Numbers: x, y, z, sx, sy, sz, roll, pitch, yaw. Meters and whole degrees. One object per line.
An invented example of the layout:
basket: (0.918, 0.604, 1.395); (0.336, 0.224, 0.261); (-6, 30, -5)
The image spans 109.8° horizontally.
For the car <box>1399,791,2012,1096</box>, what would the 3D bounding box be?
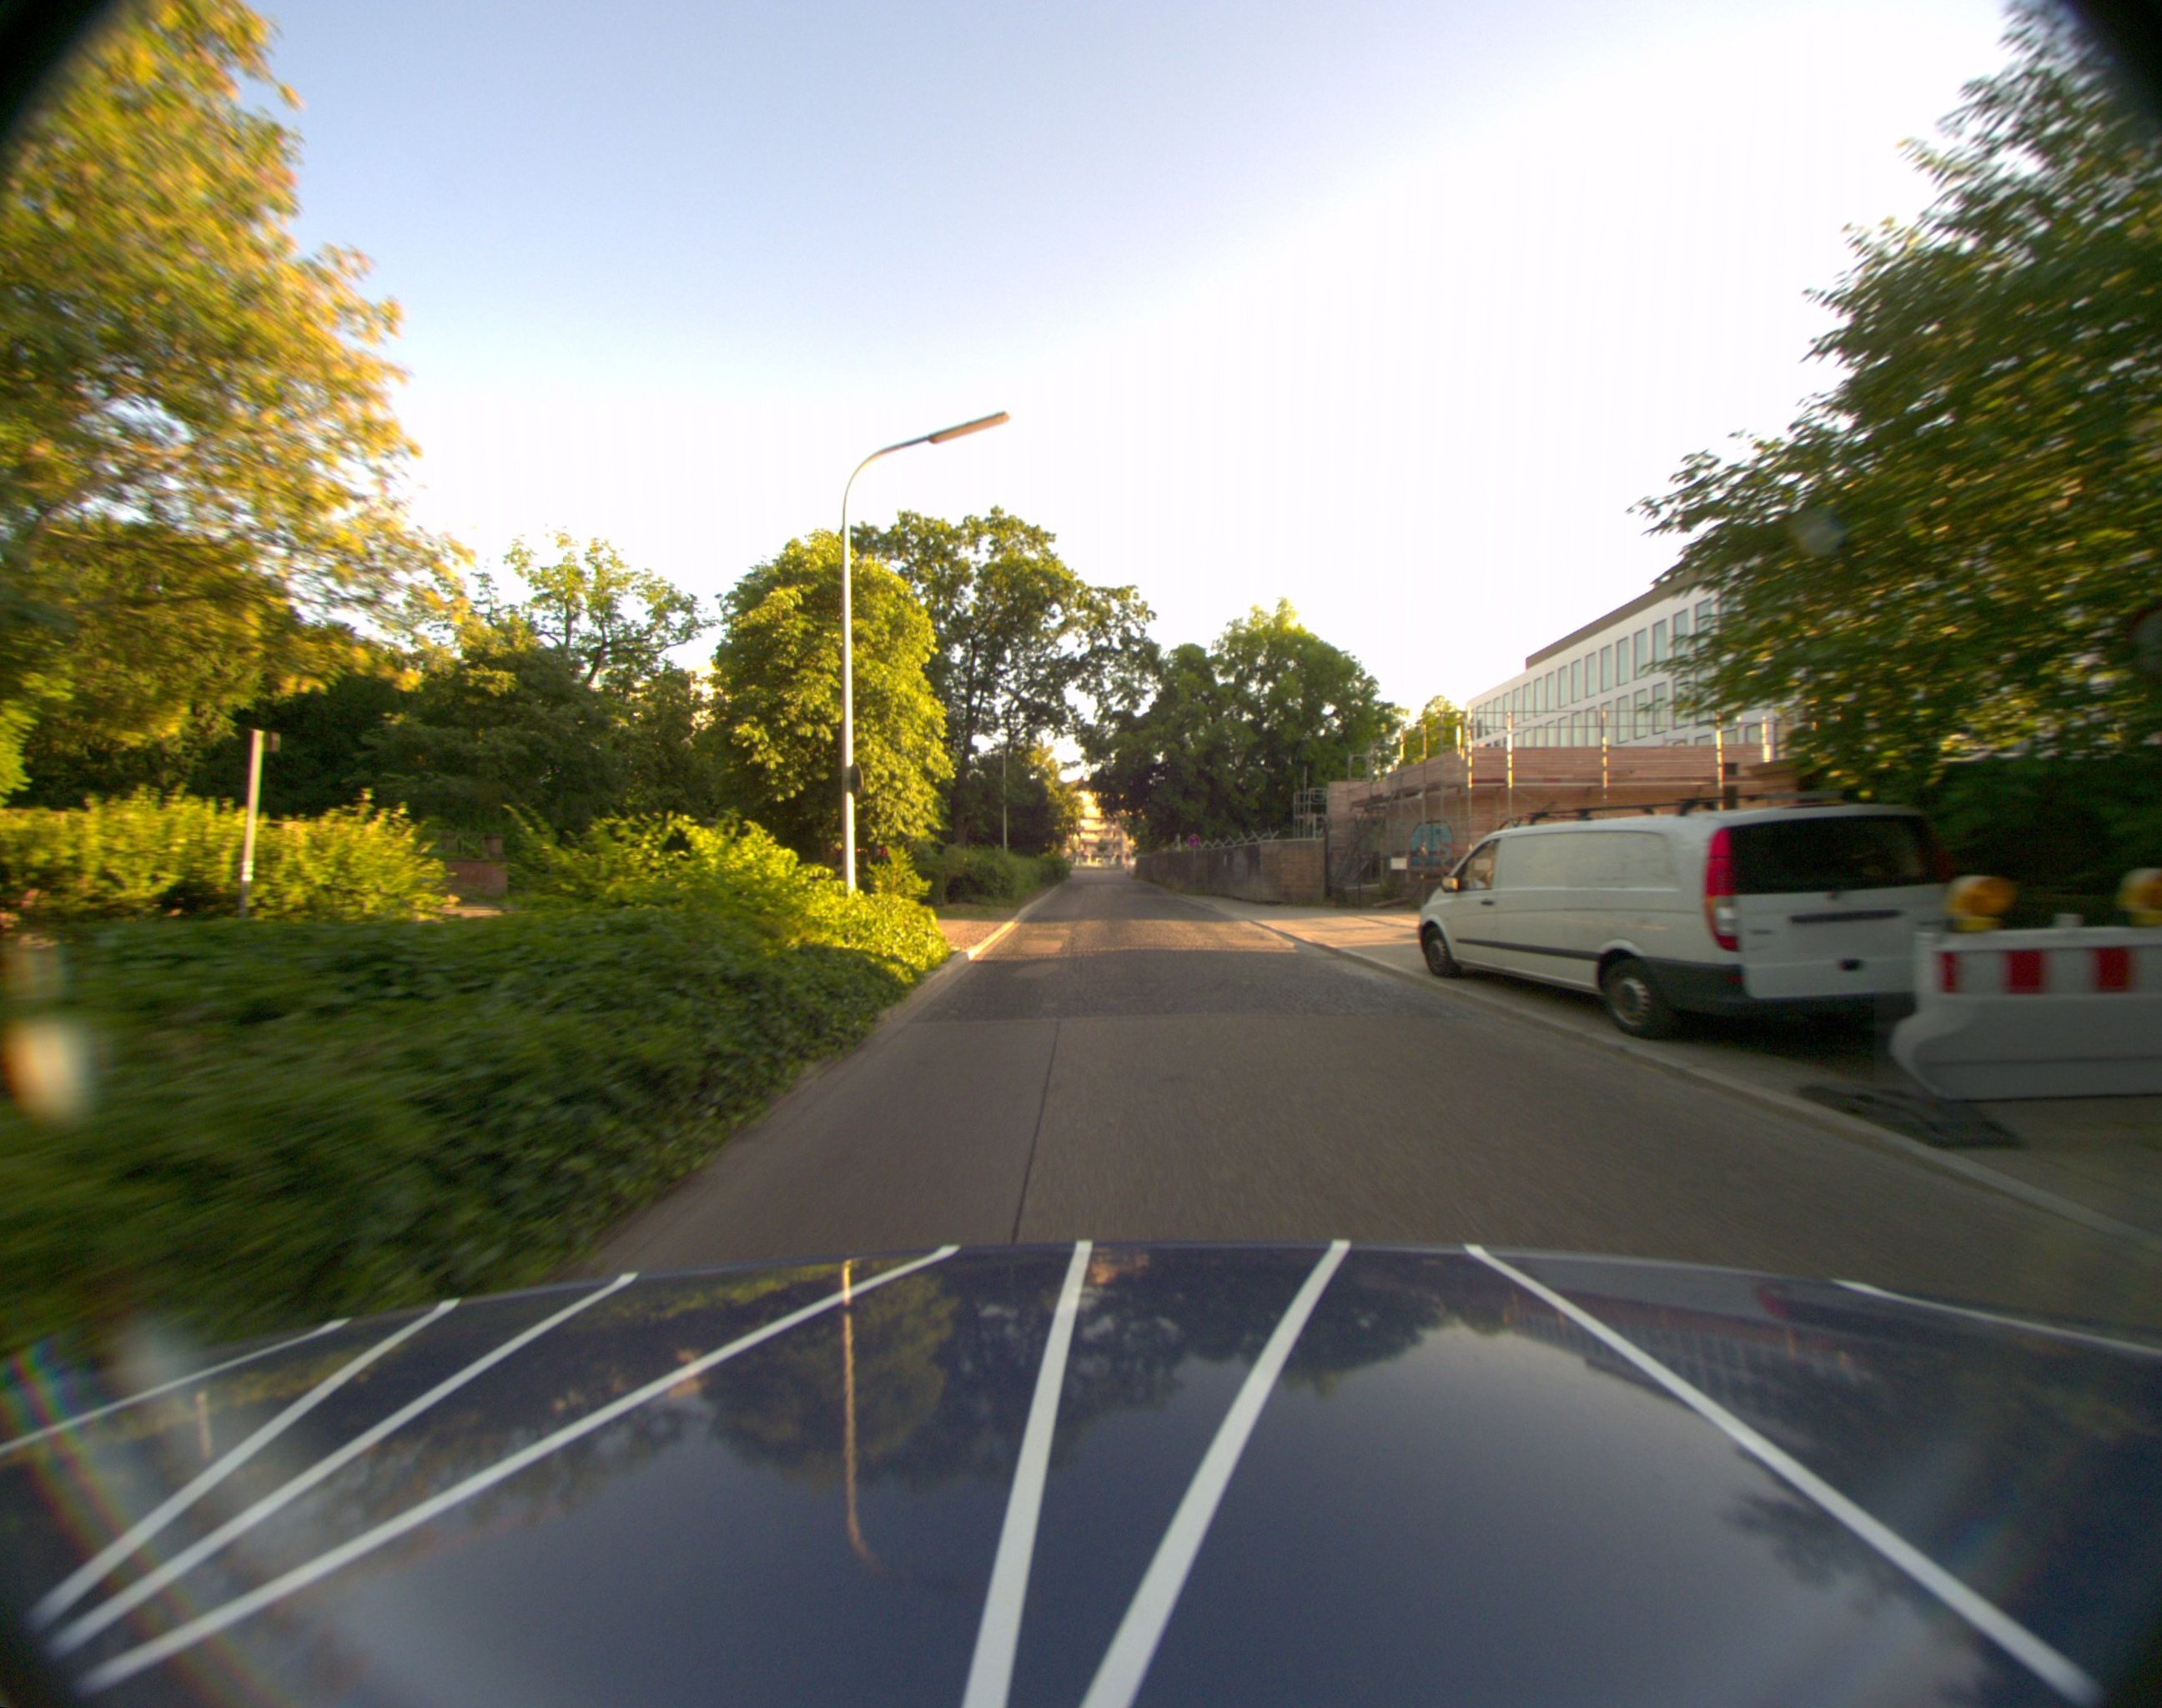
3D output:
car: (5.391, 0.623, 7.827); (1.887, 2.002, 5.225); (-3, 0, -1)
